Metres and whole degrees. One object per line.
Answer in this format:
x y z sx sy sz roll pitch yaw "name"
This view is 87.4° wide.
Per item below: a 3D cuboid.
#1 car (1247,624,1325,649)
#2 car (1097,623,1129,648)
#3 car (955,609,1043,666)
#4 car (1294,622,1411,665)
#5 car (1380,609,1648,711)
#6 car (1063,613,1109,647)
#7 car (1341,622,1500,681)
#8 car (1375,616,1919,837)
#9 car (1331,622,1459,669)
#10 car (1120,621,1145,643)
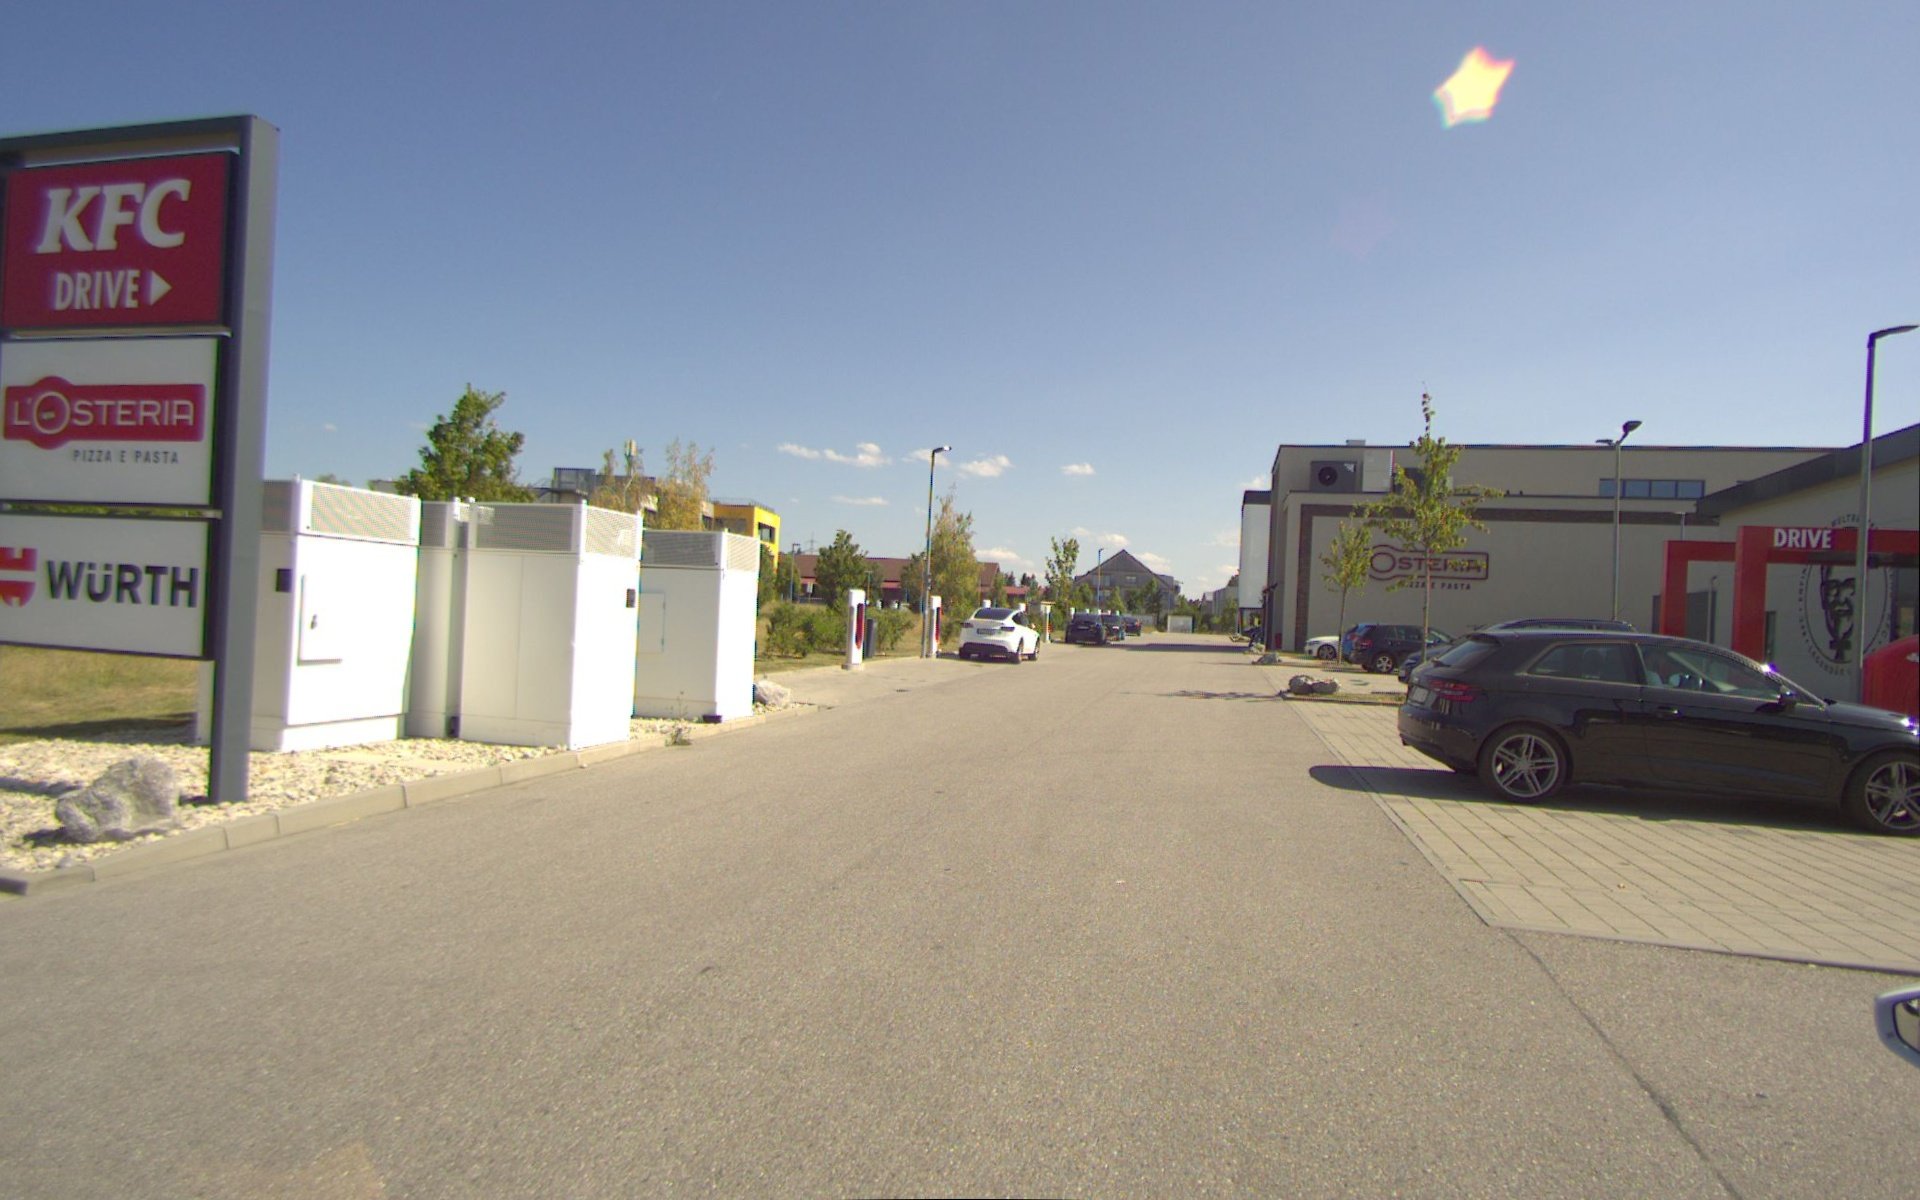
17.993 1.985 55.680 3.919 1.171 2.001 2 0 13 "car"
9.737 2.227 63.683 1.713 1.405 4.003 3 0 13 "car"
1.300 1.131 31.686 1.912 1.589 4.002 3 0 15 "car"
15.178 1.657 39.016 3.919 1.439 1.652 3 0 11 "car"
10.864 1.138 19.972 4.295 1.708 1.643 3 0 9 "car"
6.603 1.544 52.449 1.912 1.589 4.002 3 0 13 "car"
13.436 1.478 29.535 3.919 1.439 1.652 3 0 11 "car"
5.939 0.973 8.598 4.129 1.460 1.699 3 0 14 "car"
15.659 1.603 36.307 3.919 1.439 1.652 3 0 11 "car"
13.897 2.545 80.620 1.713 1.589 4.003 3 0 13 "car"
